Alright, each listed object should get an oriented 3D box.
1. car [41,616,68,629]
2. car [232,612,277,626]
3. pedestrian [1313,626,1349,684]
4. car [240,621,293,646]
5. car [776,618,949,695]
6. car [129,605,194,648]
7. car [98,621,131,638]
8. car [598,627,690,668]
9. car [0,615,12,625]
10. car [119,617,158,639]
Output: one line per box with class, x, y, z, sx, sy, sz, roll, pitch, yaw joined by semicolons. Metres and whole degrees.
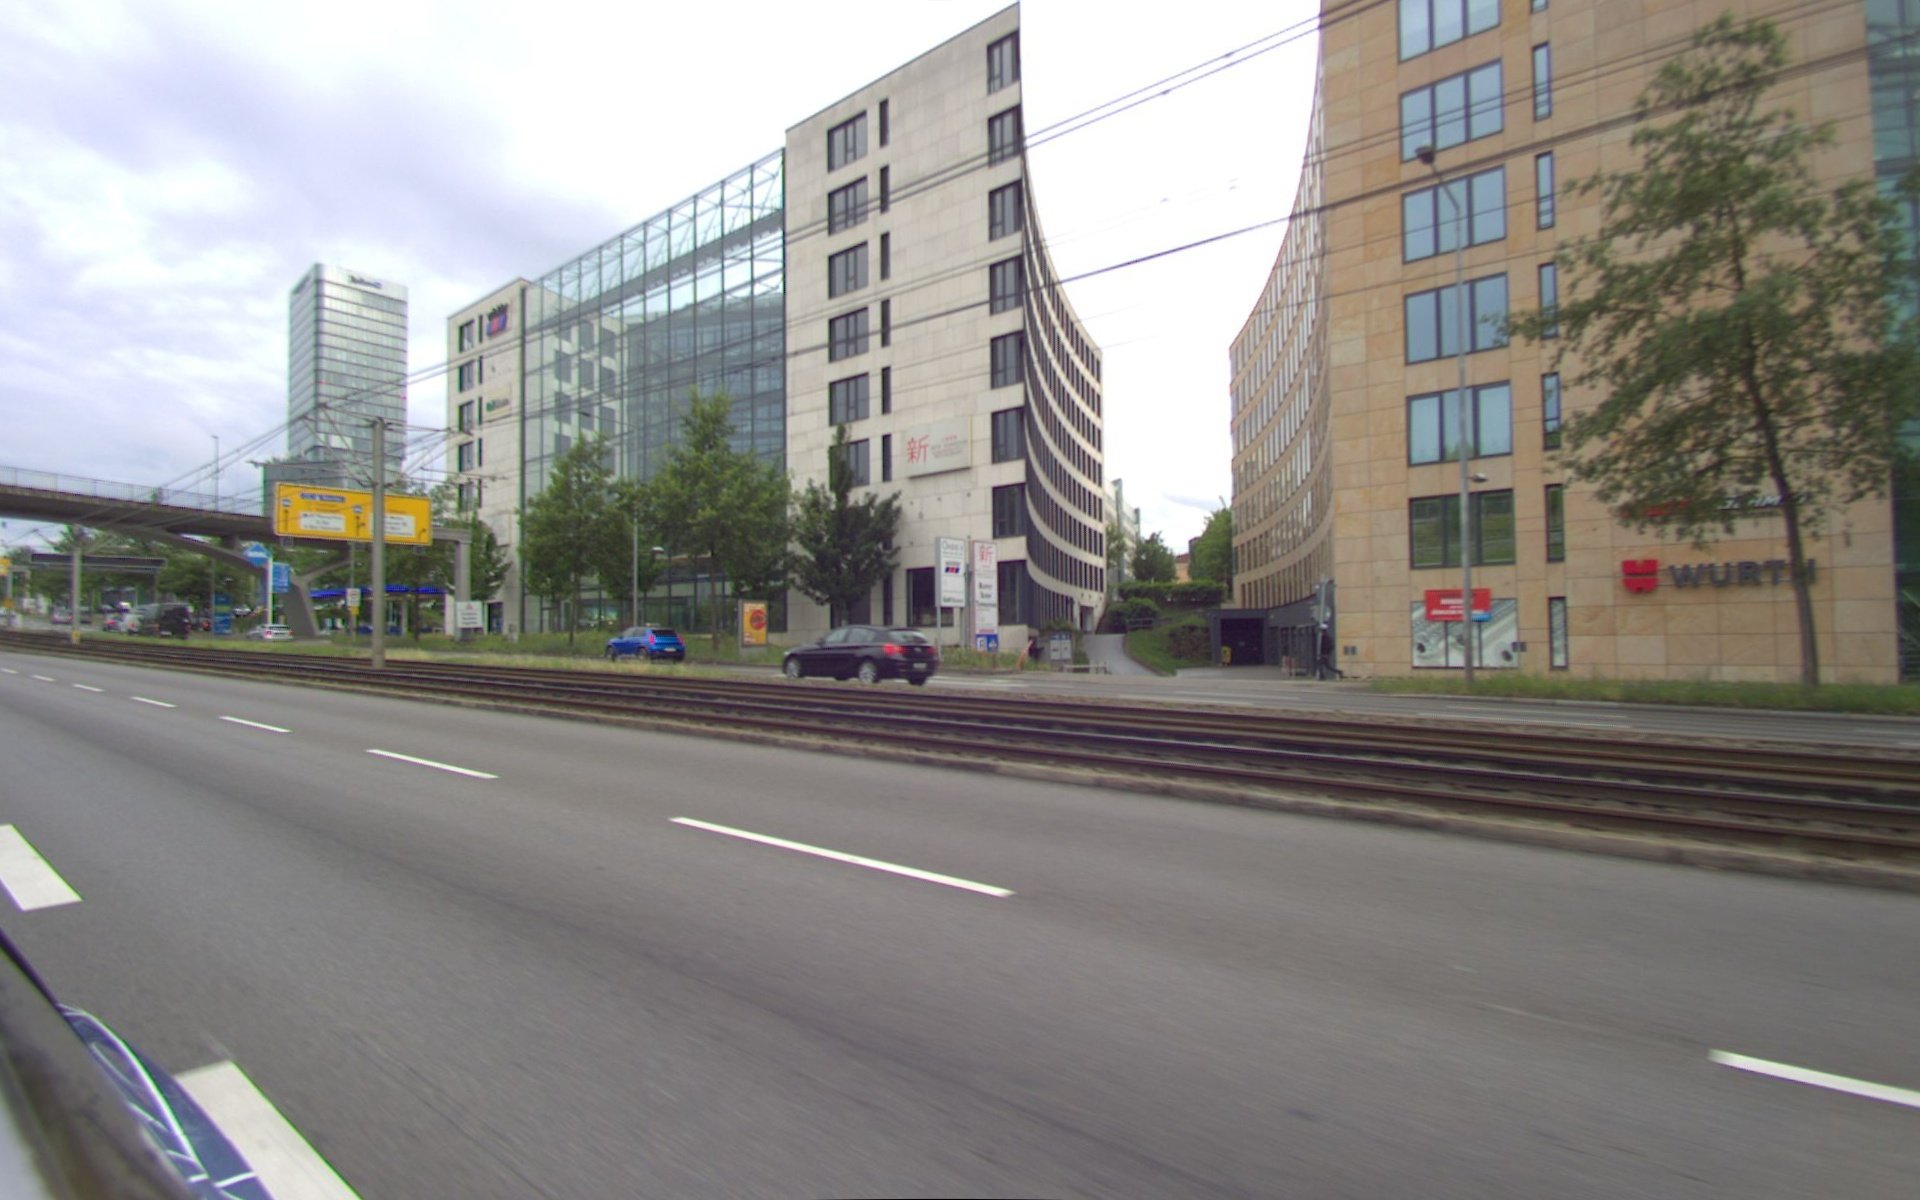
car;-109.150;2.686;122.005;4.271;1.545;1.792;-1;0;40
car;-87.000;2.334;124.888;1.885;1.515;4.306;1;1;43
pedestrian;11.008;1.625;30.028;0.831;1.643;0.635;1;1;38
car;-45.345;2.137;66.106;4.815;1.545;1.741;-1;0;41
car;-2.385;1.259;23.999;4.200;1.513;1.753;1;1;43
car;-55.419;1.778;70.213;5.605;2.839;2.360;-1;0;39
car;-83.837;2.908;100.327;4.488;1.618;1.791;-1;0;41
car;-13.100;1.927;41.851;4.023;1.465;1.822;1;1;41
car;-146.440;3.090;154.604;4.654;1.509;1.900;-1;-4;41
car;-71.245;2.426;87.727;5.061;1.775;1.917;-1;0;42
